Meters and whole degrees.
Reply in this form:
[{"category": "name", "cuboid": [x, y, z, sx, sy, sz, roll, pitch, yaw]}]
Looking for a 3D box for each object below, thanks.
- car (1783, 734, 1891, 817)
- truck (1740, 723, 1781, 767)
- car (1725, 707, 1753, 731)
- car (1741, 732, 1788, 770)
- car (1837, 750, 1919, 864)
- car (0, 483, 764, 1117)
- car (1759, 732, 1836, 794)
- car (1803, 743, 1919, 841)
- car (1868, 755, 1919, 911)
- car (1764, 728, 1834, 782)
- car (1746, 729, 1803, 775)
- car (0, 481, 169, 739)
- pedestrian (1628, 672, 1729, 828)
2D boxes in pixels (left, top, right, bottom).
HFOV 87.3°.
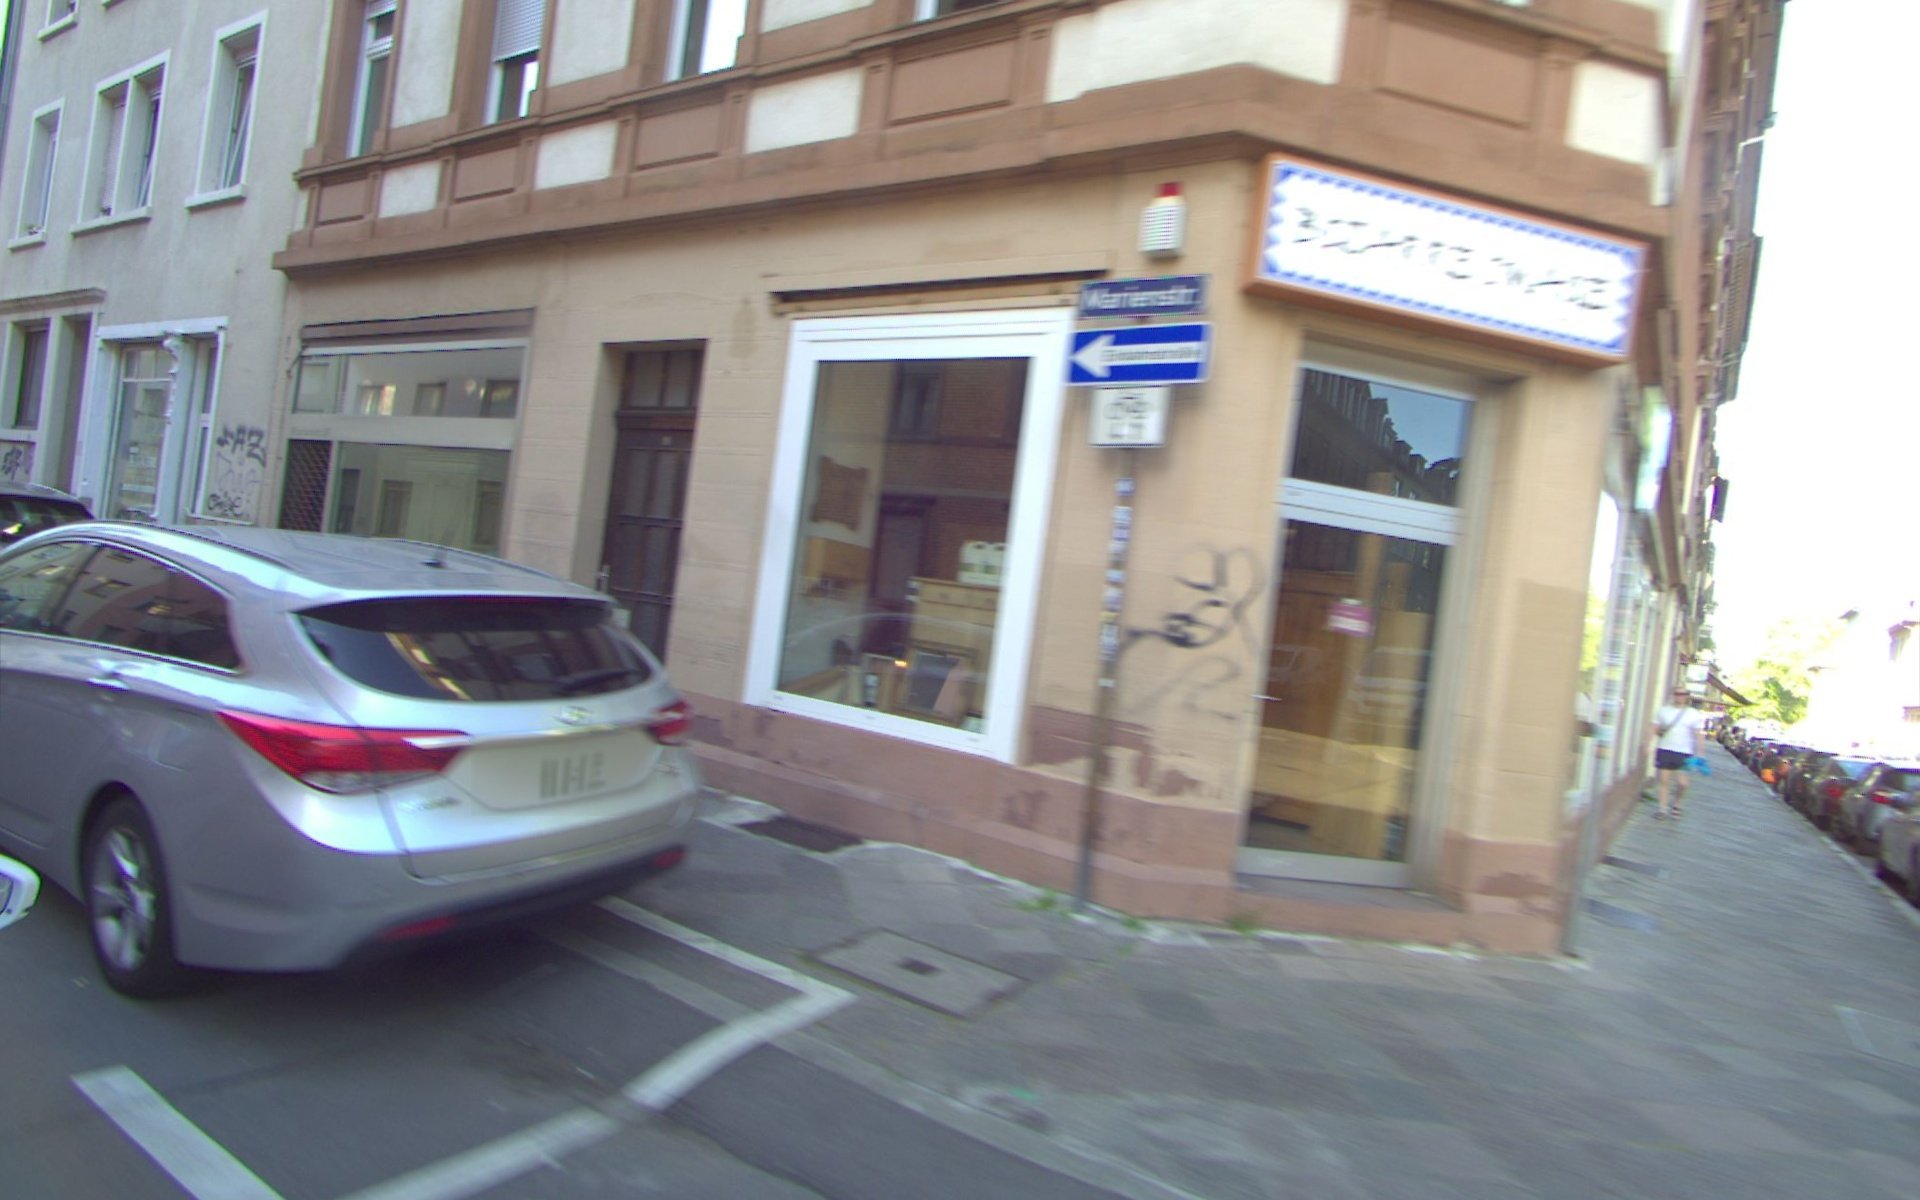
[{"category": "car", "cuboid": [20.670, 4.065, 23.825, 1.610, 1.571, 3.880, 5, -3, 38]}, {"category": "truck", "cuboid": [46.267, 8.355, 58.205, 1.609, 2.241, 4.352, 5, -3, 37]}, {"category": "car", "cuboid": [60.317, 9.210, 77.932, 1.609, 1.571, 3.881, 5, -3, 37]}, {"category": "car", "cuboid": [39.956, 7.462, 50.032, 1.609, 1.571, 3.881, 5, -3, 37]}, {"category": "car", "cuboid": [15.191, 3.282, 15.979, 1.610, 1.490, 3.530, 5, -3, 38]}, {"category": "car", "cuboid": [-3.140, 0.395, 4.442, 4.284, 1.526, 1.745, 7, 2, 30]}, {"category": "car", "cuboid": [25.893, 4.988, 31.206, 1.610, 1.571, 3.880, 5, -3, 38]}, {"category": "car", "cuboid": [17.684, 3.676, 19.680, 1.610, 1.490, 3.688, 5, -3, 38]}, {"category": "car", "cuboid": [11.468, 2.632, 11.234, 1.610, 1.490, 3.854, 5, -3, 38]}, {"category": "car", "cuboid": [29.823, 5.475, 35.849, 1.609, 1.571, 3.881, 5, -3, 37]}, {"category": "car", "cuboid": [33.815, 6.270, 41.820, 1.609, 1.571, 3.881, 5, -3, 37]}, {"category": "car", "cuboid": [-7.461, -0.133, 7.011, 3.954, 1.526, 1.745, 7, 2, 31]}, {"category": "pedestrian", "cuboid": [9.824, 2.028, 13.788, 0.787, 1.944, 0.716, 10, 2, 32]}]
